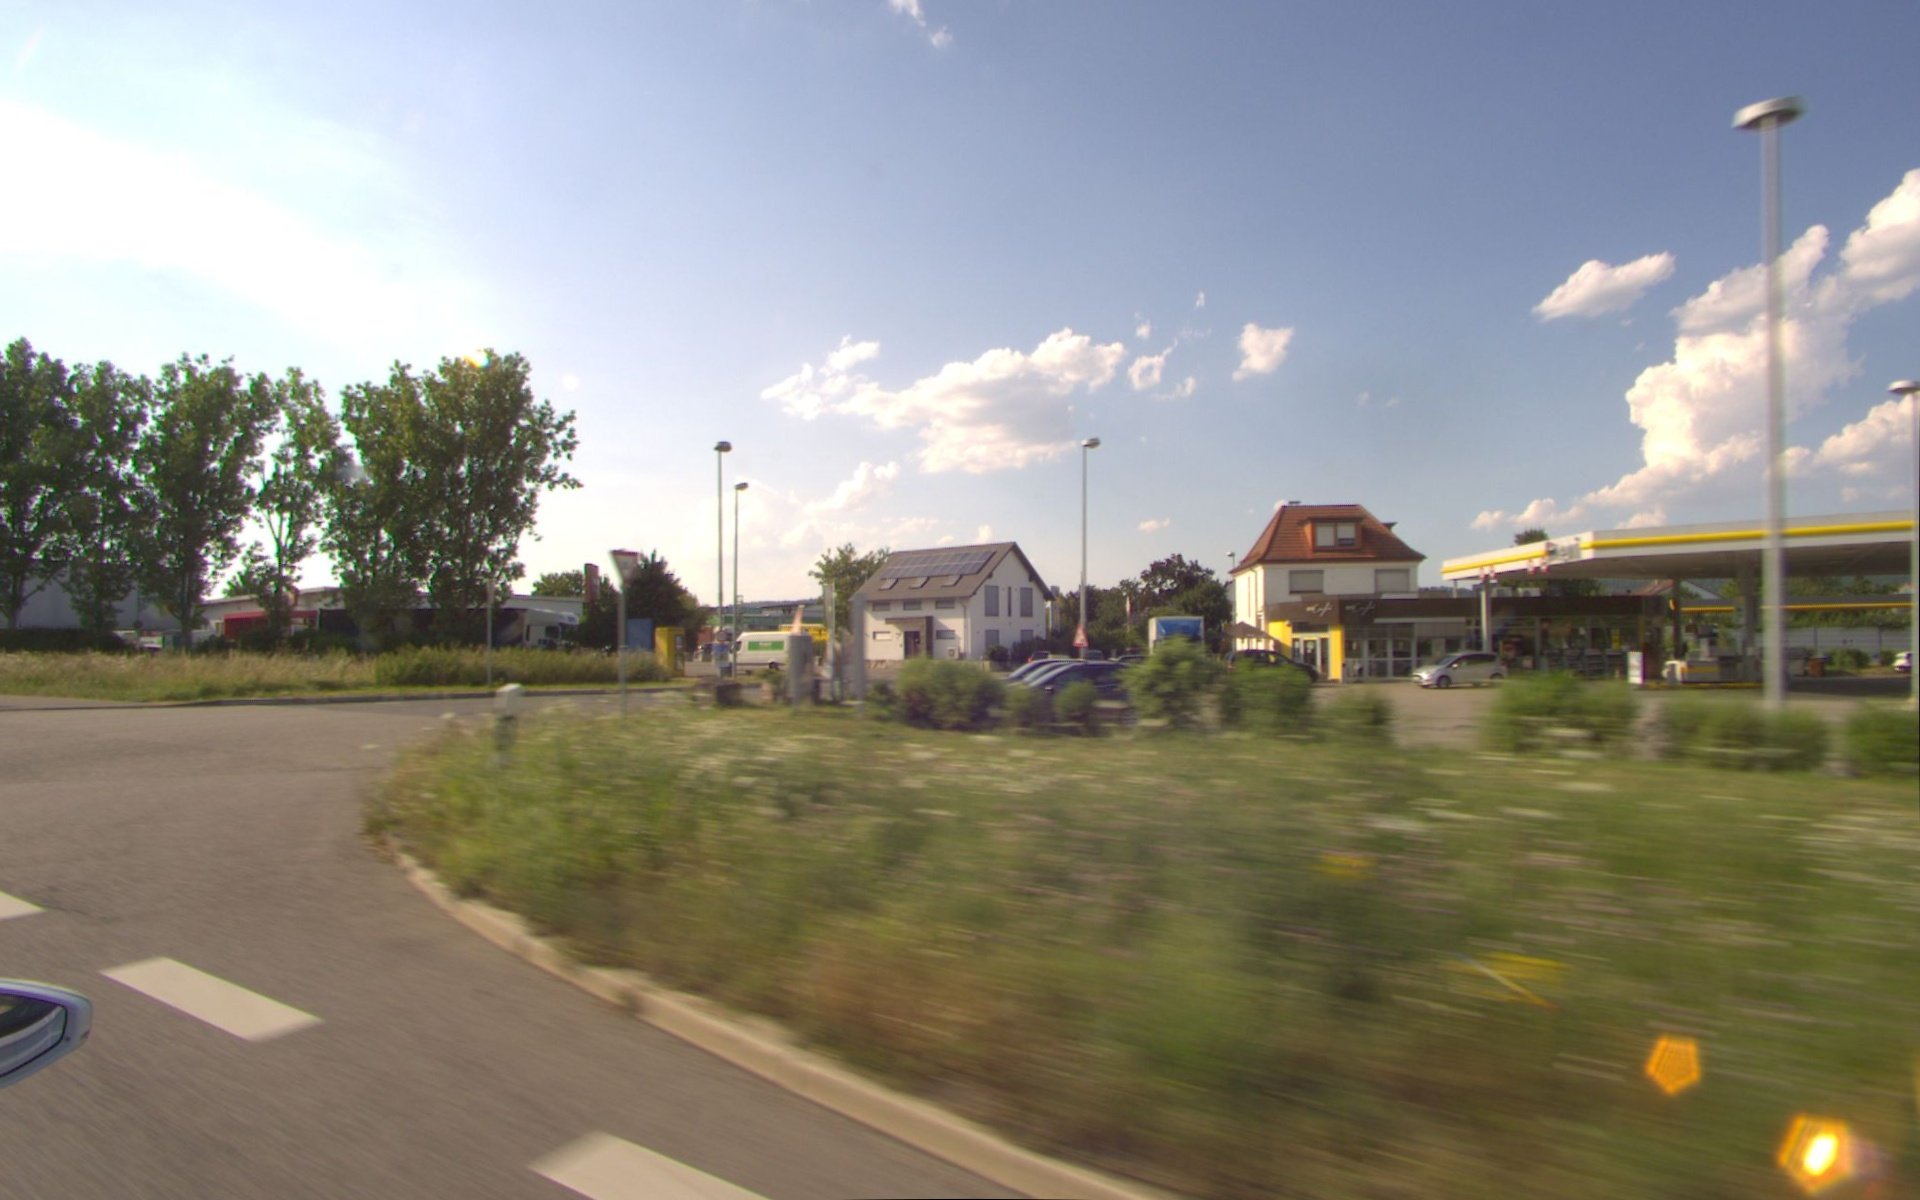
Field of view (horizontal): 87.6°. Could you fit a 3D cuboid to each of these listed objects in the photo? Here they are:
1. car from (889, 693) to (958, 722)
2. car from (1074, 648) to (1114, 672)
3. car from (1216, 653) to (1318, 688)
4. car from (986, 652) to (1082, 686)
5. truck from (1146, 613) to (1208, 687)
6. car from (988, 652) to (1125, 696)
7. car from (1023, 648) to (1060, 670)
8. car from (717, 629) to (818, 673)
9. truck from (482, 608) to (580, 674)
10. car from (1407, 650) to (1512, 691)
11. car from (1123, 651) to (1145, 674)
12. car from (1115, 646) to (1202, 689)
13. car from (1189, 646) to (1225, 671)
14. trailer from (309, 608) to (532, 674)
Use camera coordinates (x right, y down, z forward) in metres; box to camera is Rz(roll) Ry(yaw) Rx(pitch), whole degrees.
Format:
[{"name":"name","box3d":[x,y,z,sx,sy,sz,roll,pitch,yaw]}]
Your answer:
[{"name":"car","box3d":[-0.633,1.830,17.149,1.063,0.455,0.606,1,-3,-16]},{"name":"car","box3d":[10.072,4.526,75.135,1.822,1.647,3.586,-2,-6,29]},{"name":"car","box3d":[14.862,3.435,48.664,4.335,1.654,1.853,0,-4,0]},{"name":"car","box3d":[2.330,2.206,31.812,2.850,1.049,1.319,1,-4,-8]},{"name":"truck","box3d":[11.711,2.847,54.638,2.714,3.731,8.019,0,-5,8]},{"name":"car","box3d":[2.798,2.166,29.609,3.840,1.217,1.601,0,-1,-3]},{"name":"car","box3d":[5.553,4.039,68.013,1.817,1.410,3.596,-1,-5,17]},{"name":"car","box3d":[-12.012,3.246,62.302,6.734,2.548,2.223,-3,-5,37]},{"name":"truck","box3d":[-26.474,2.573,61.926,5.019,3.962,2.253,0,-4,2]},{"name":"car","box3d":[22.283,3.151,44.735,3.821,1.739,1.757,1,-3,-5]},{"name":"car","box3d":[13.553,4.858,77.992,1.670,1.699,3.600,-1,-5,10]},{"name":"car","box3d":[9.709,3.315,49.275,4.009,2.038,1.770,0,-3,4]},{"name":"car","box3d":[18.927,4.516,76.595,1.822,1.821,3.586,-2,-5,29]},{"name":"trailer","box3d":[-33.812,2.635,62.829,13.458,3.962,2.253,-1,-4,8]}]
